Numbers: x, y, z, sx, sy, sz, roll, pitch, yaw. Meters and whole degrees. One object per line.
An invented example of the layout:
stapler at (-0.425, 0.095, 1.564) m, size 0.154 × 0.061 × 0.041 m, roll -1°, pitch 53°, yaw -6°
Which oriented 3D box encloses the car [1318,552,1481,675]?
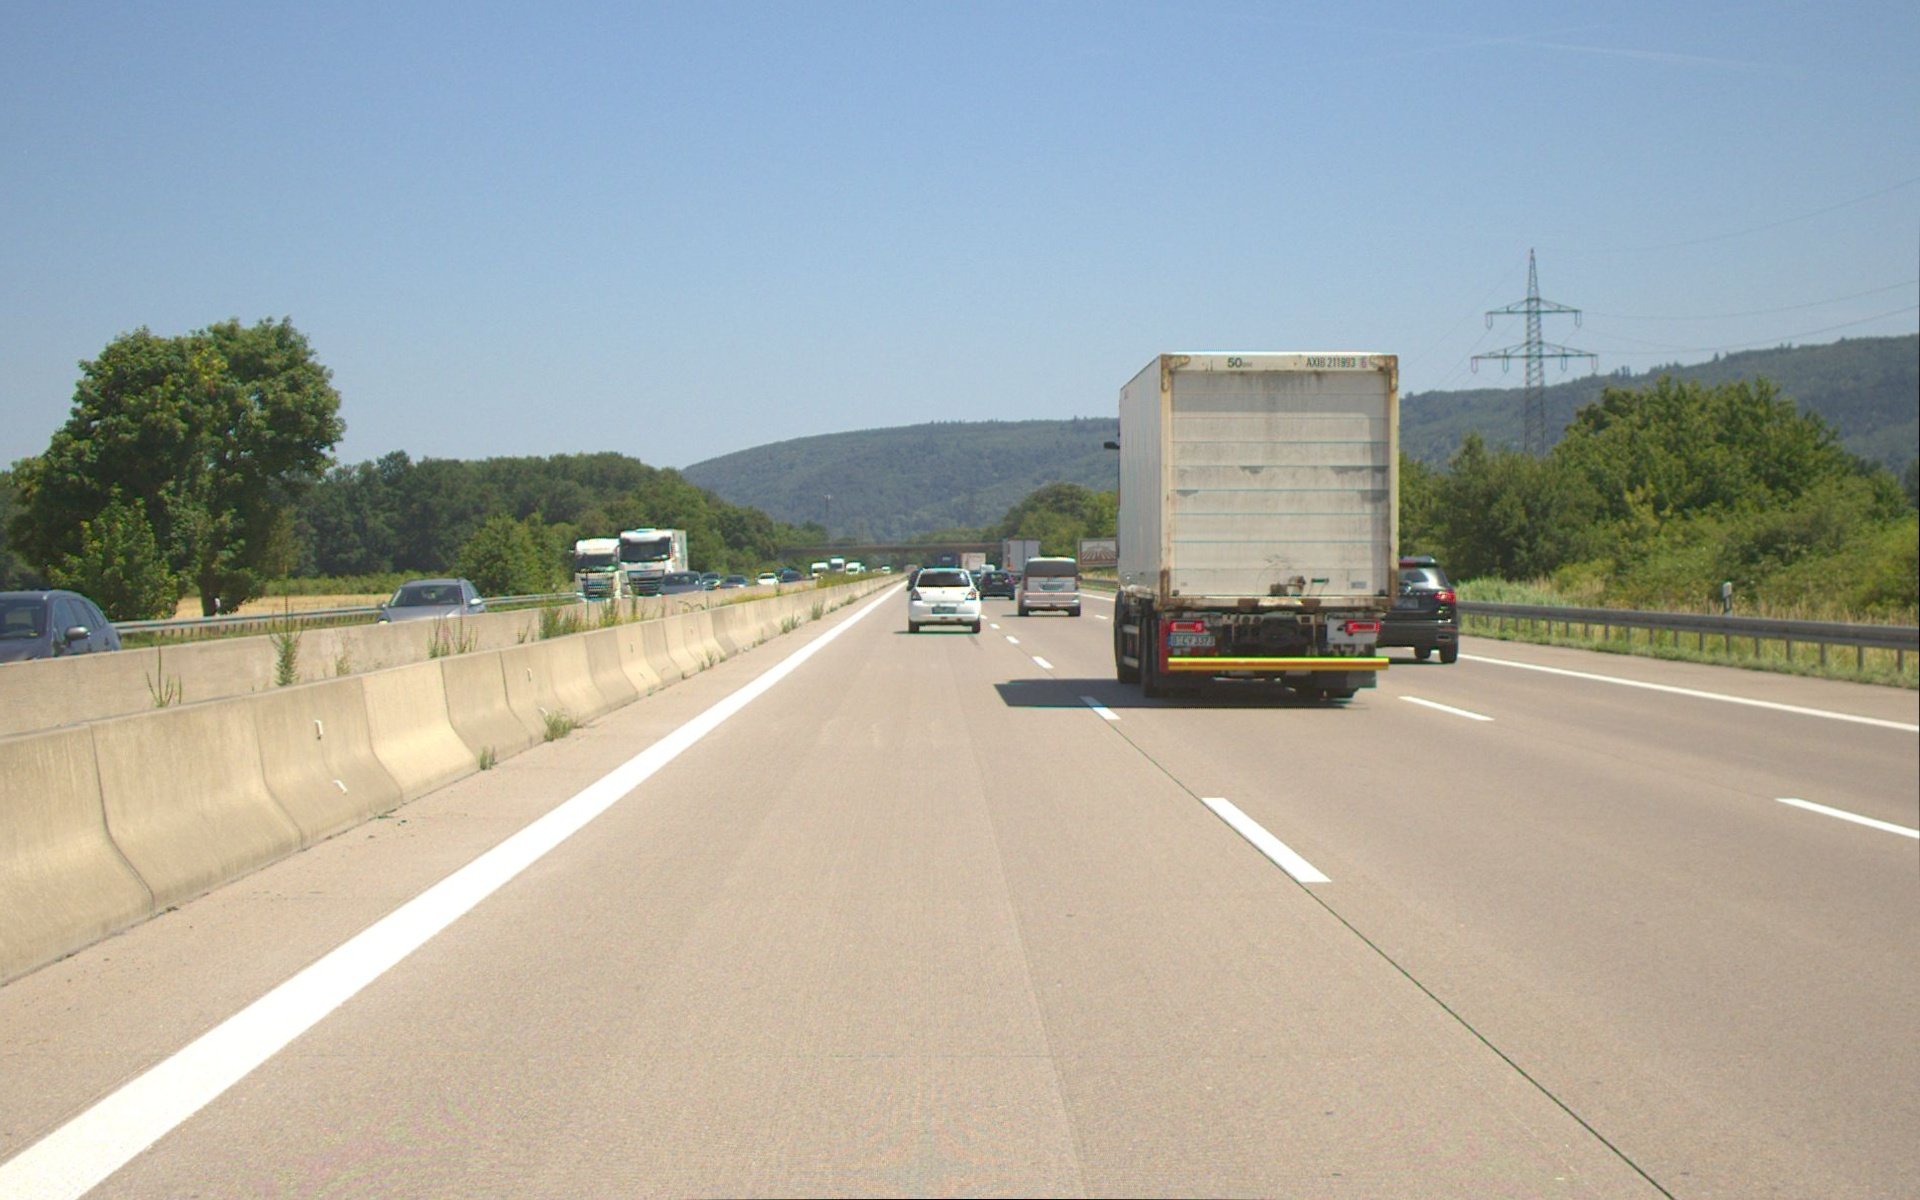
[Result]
car at (7.109, 0.190, 55.978) m, size 1.993 × 1.842 × 4.000 m, roll 2°, pitch 1°, yaw -1°

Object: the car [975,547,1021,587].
car at (1.860, -1.621, 169.639) m, size 1.993 × 1.842 × 4.000 m, roll 2°, pitch 1°, yaw -2°

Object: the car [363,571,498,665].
car at (-9.959, 0.303, 64.955) m, size 1.882 × 1.689 × 4.682 m, roll 1°, pitch 1°, yaw -1°

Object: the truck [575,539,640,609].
truck at (-19.025, -1.416, 185.793) m, size 2.803 × 3.675 × 7.236 m, roll 1°, pitch 1°, yaw 0°

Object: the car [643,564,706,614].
car at (-10.309, -0.413, 124.362) m, size 1.863 × 1.723 × 4.140 m, roll 1°, pitch 1°, yaw 1°

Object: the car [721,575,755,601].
car at (-15.568, -0.842, 241.146) m, size 1.993 × 1.711 × 5.025 m, roll 1°, pitch 1°, yaw 0°

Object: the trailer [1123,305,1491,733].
trailer at (3.405, -0.788, 36.496) m, size 2.580 × 3.864 × 10.374 m, roll 1°, pitch 1°, yaw -1°

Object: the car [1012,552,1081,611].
car at (2.755, -0.603, 110.518) m, size 1.993 × 1.842 × 4.000 m, roll 1°, pitch 1°, yaw -1°

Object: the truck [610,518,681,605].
truck at (-14.630, -1.776, 160.122) m, size 2.900 × 3.956 × 5.046 m, roll 1°, pitch 1°, yaw -1°

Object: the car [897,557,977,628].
car at (-0.566, -0.193, 81.538) m, size 1.819 × 1.656 × 4.000 m, roll 0°, pitch 1°, yaw -1°

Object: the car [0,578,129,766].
car at (-9.529, 0.628, 33.329) m, size 1.904 × 1.645 × 4.934 m, roll 1°, pitch 1°, yaw -2°

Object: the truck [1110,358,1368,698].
truck at (3.301, -0.845, 41.880) m, size 2.580 × 3.864 × 4.984 m, roll 1°, pitch 1°, yaw -1°

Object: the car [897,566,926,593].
car at (-3.261, -1.400, 230.049) m, size 1.928 × 1.788 × 4.000 m, roll 1°, pitch 1°, yaw -1°
